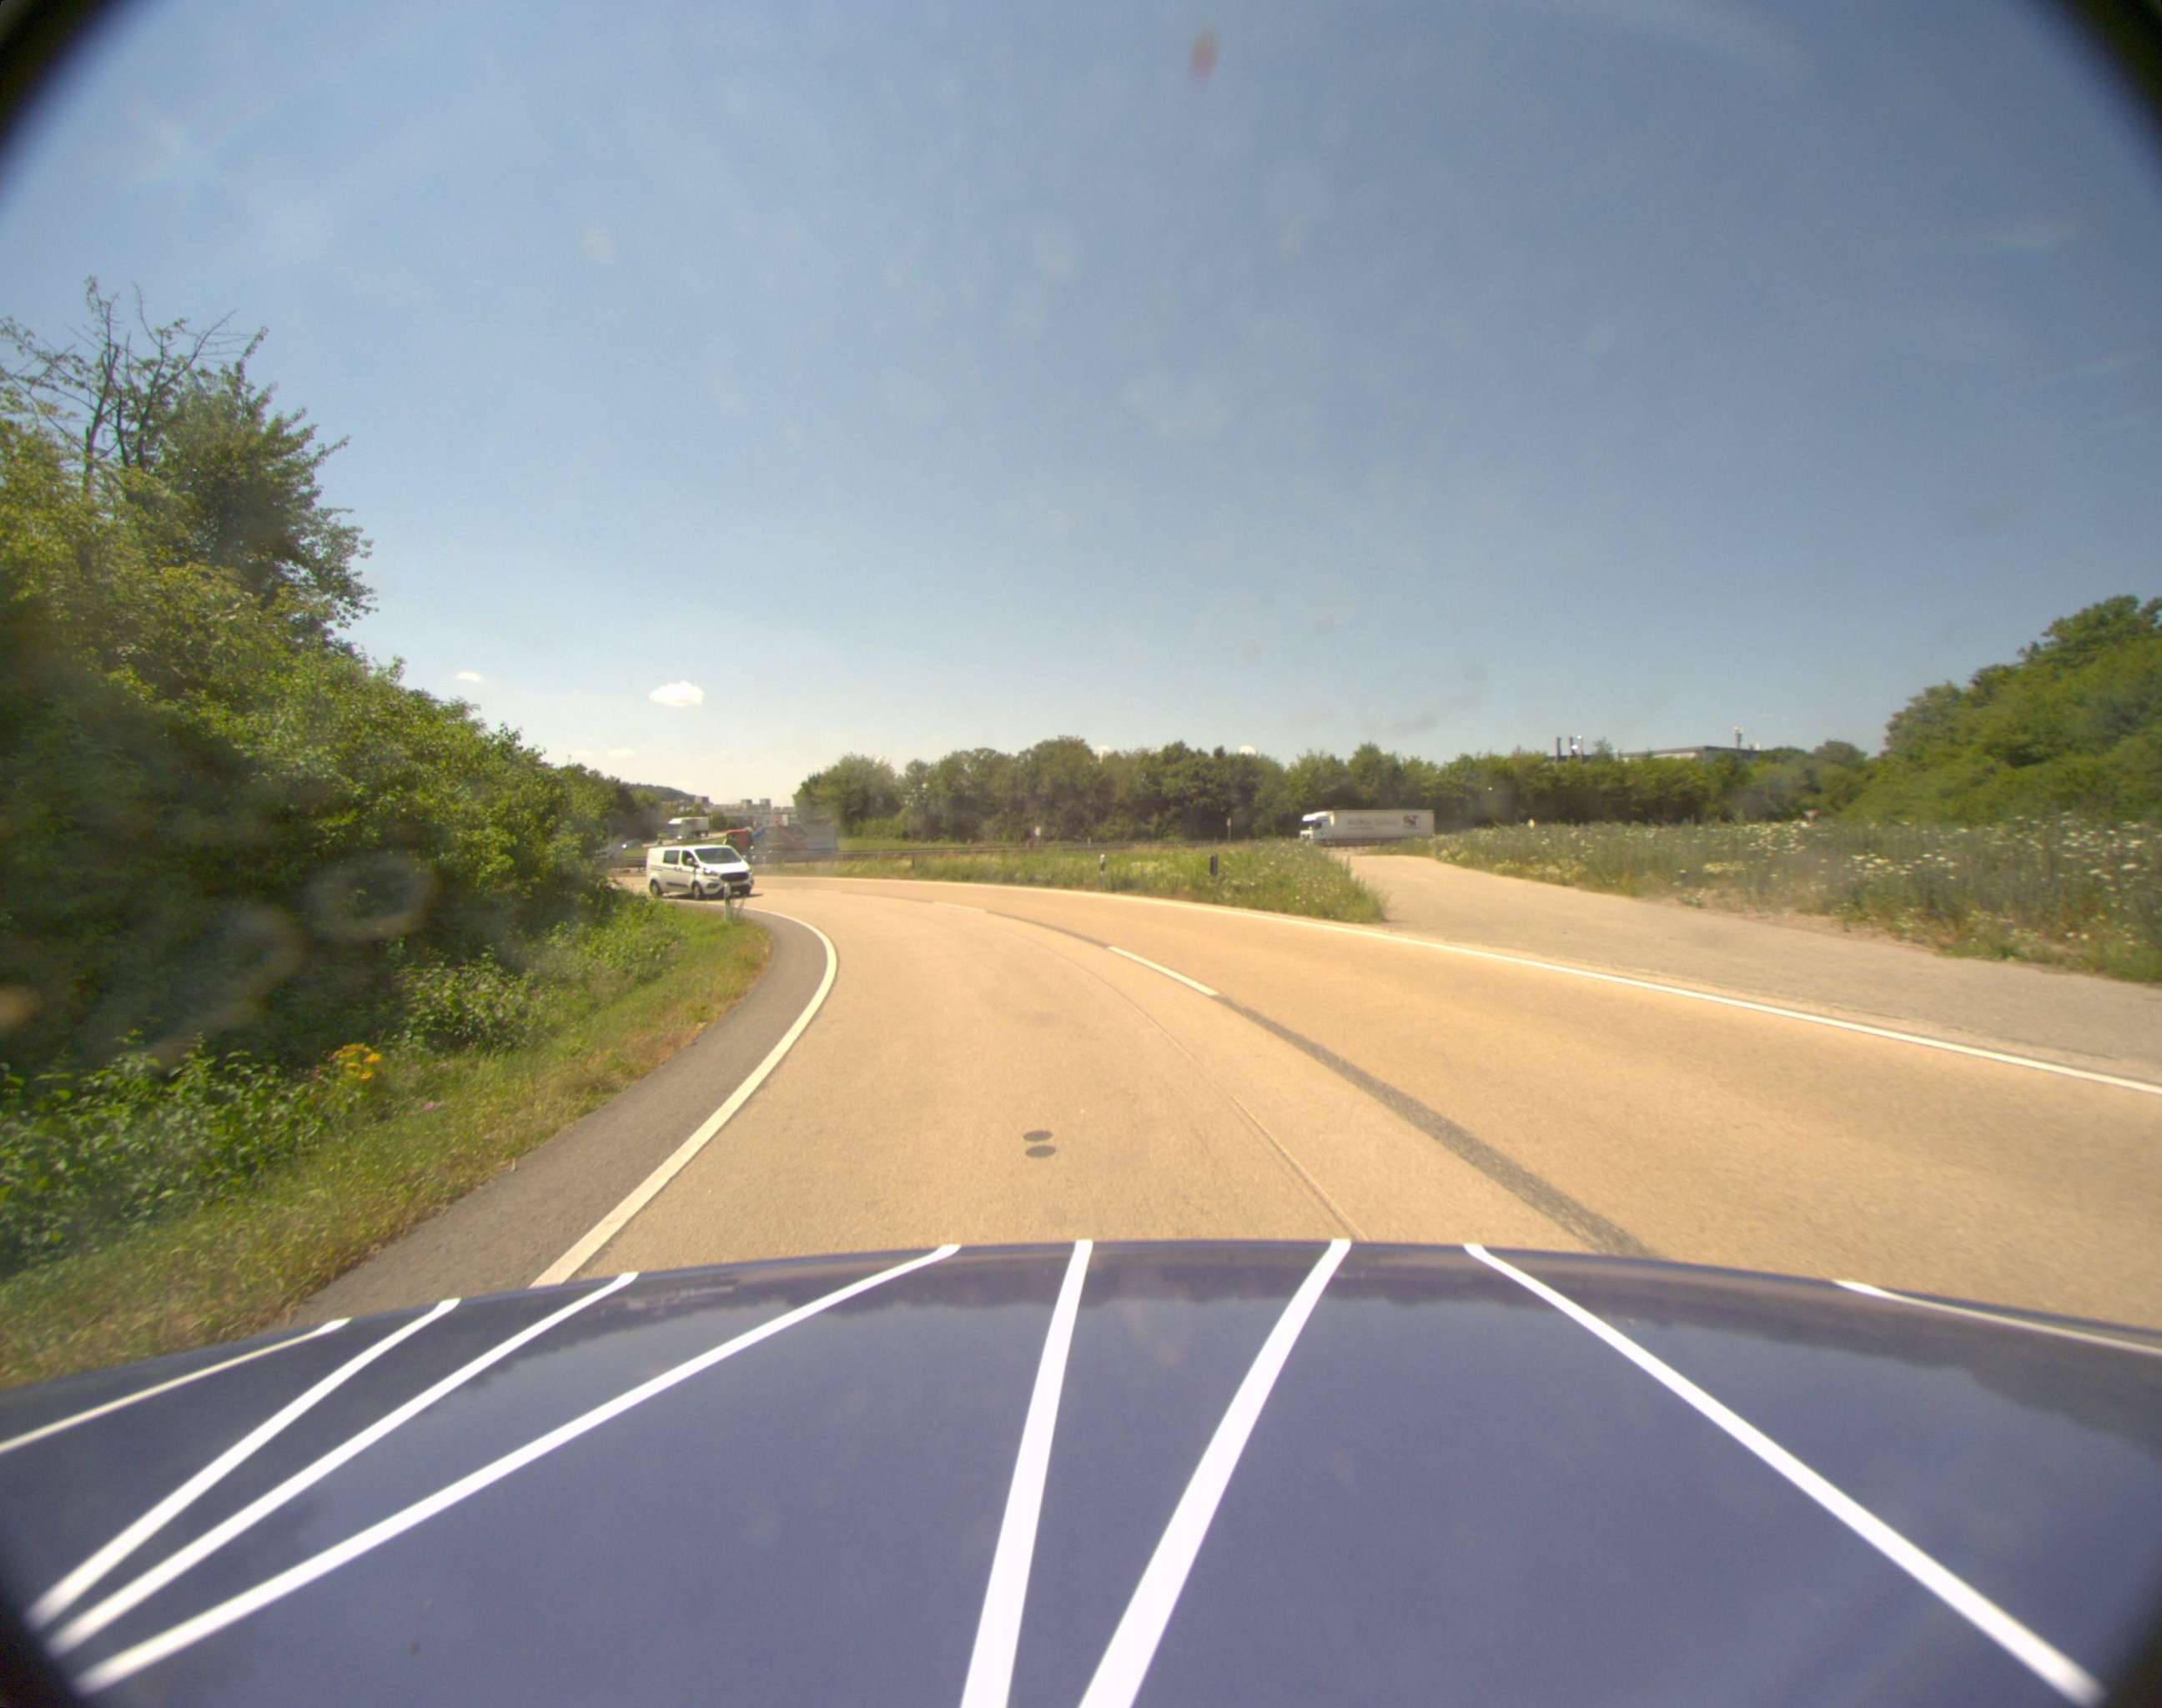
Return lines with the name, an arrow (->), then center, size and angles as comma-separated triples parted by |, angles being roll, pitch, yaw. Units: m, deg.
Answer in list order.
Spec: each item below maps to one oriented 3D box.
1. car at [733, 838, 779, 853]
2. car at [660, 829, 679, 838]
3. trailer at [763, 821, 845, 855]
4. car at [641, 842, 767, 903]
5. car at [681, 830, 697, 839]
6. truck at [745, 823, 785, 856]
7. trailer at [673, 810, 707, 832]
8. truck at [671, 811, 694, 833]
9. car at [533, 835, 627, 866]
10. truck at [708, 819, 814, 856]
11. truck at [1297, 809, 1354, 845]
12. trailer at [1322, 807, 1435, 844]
car -> -26.788, -0.710, 62.652 | 3.247, 1.142, 1.230 | -2, 1, -13
car -> -71.235, -3.566, 131.464 | 1.600, 1.424, 3.567 | -2, 1, -6
trailer -> -26.814, -1.596, 73.844 | 7.225, 2.993, 2.302 | -3, 2, -14
car -> -14.505, 0.639, 29.105 | 5.026, 2.003, 2.066 | 0, 6, 36
car -> -72.065, -3.591, 139.764 | 1.600, 1.424, 3.566 | -1, 1, -10
truck -> -30.302, -1.434, 72.986 | 3.077, 2.993, 2.312 | -3, 2, -14
trailer -> -78.853, -6.606, 153.490 | 2.826, 4.136, 12.233 | -2, 3, -13
truck -> -77.504, -6.292, 147.746 | 2.833, 4.136, 3.993 | -2, 3, -13
car -> -45.772, -0.335, 69.537 | 6.699, 2.524, 2.160 | -2, 3, -12
truck -> -27.913, -1.475, 66.627 | 8.209, 3.045, 2.599 | -2, 2, -15
truck -> 27.607, -3.044, 85.959 | 5.422, 3.917, 2.916 | -2, 2, -18
trailer -> 34.554, -3.270, 88.125 | 13.284, 3.917, 2.916 | -2, 2, -17
